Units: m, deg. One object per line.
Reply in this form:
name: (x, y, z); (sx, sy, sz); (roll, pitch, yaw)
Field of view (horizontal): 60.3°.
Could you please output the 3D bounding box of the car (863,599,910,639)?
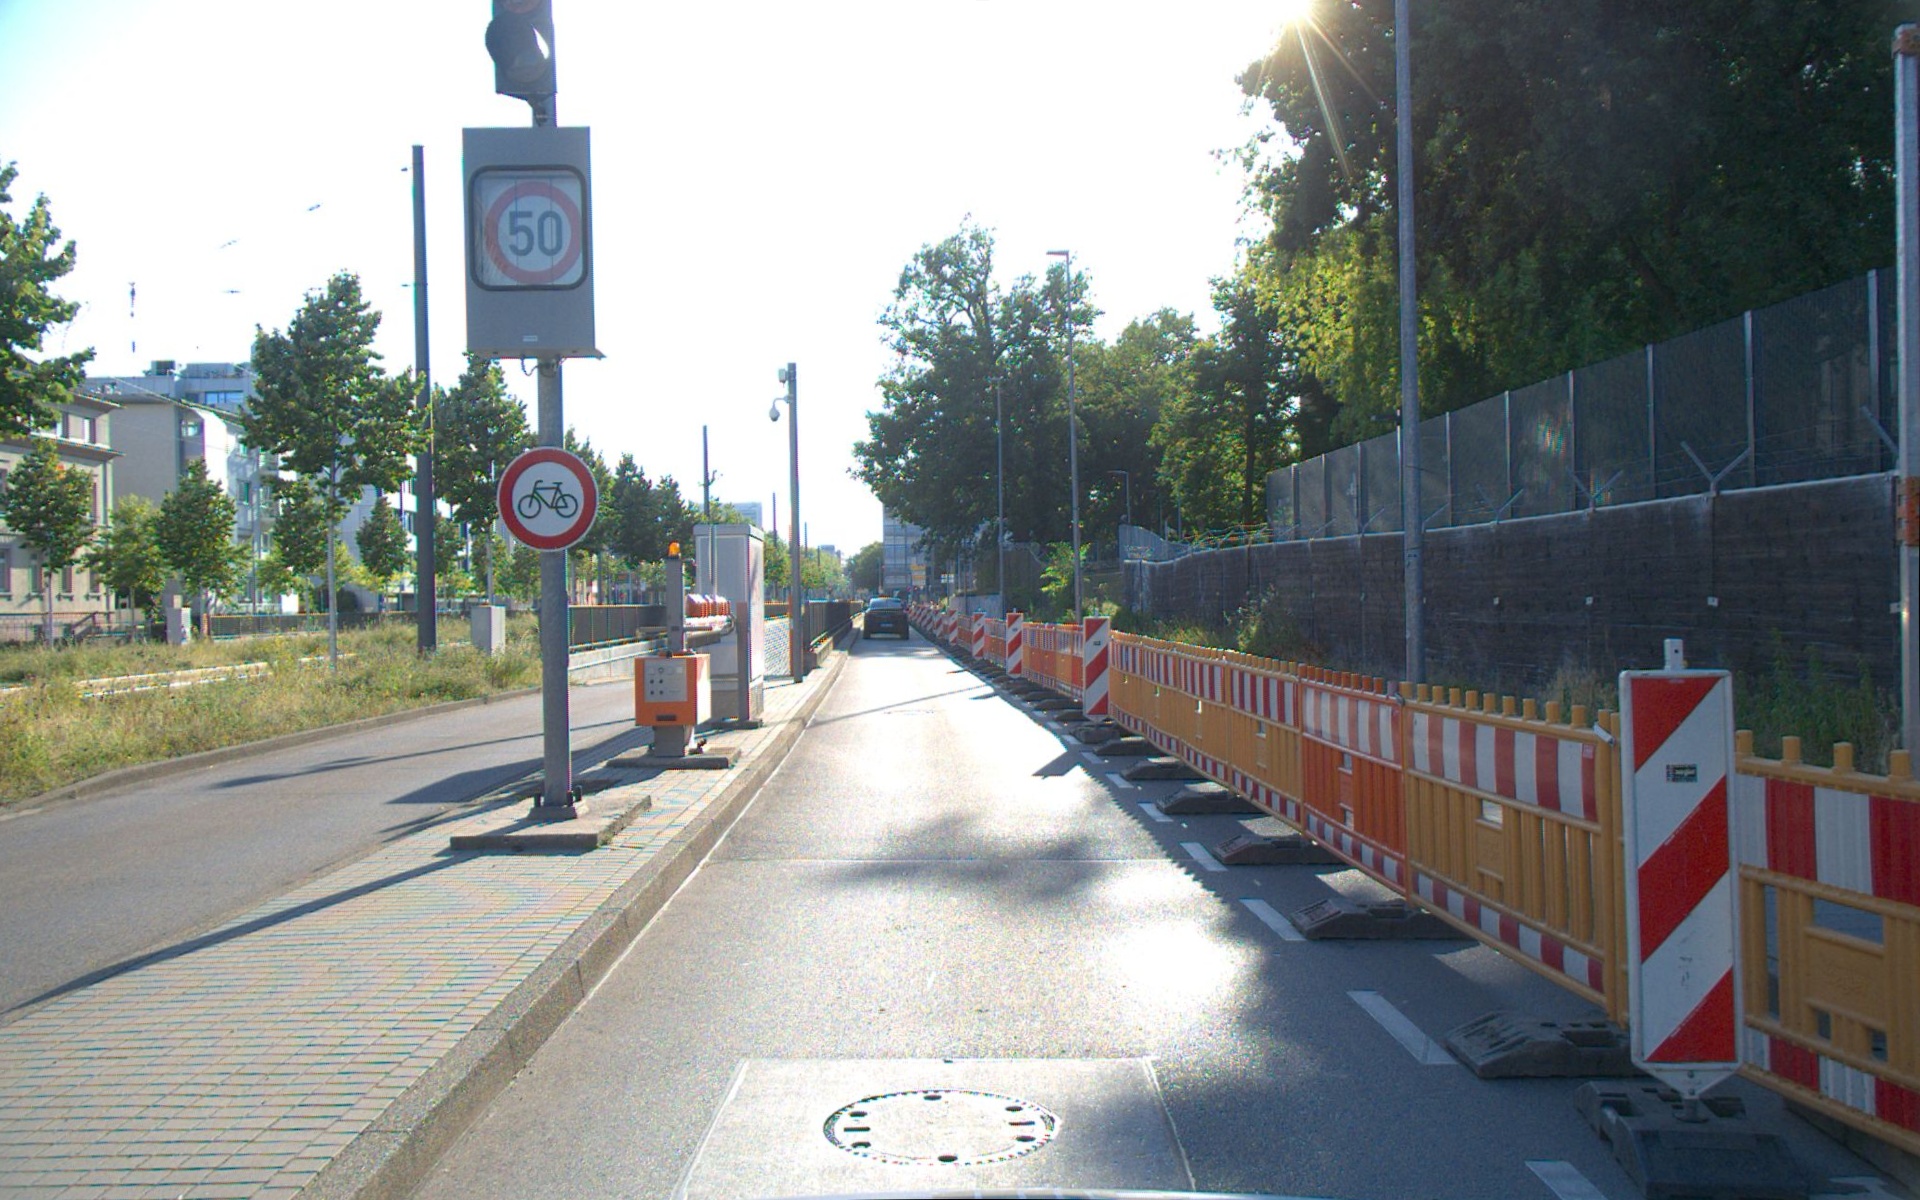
car: (-3.188, 0.842, 72.283); (1.965, 1.688, 3.998); (1, -1, -2)
